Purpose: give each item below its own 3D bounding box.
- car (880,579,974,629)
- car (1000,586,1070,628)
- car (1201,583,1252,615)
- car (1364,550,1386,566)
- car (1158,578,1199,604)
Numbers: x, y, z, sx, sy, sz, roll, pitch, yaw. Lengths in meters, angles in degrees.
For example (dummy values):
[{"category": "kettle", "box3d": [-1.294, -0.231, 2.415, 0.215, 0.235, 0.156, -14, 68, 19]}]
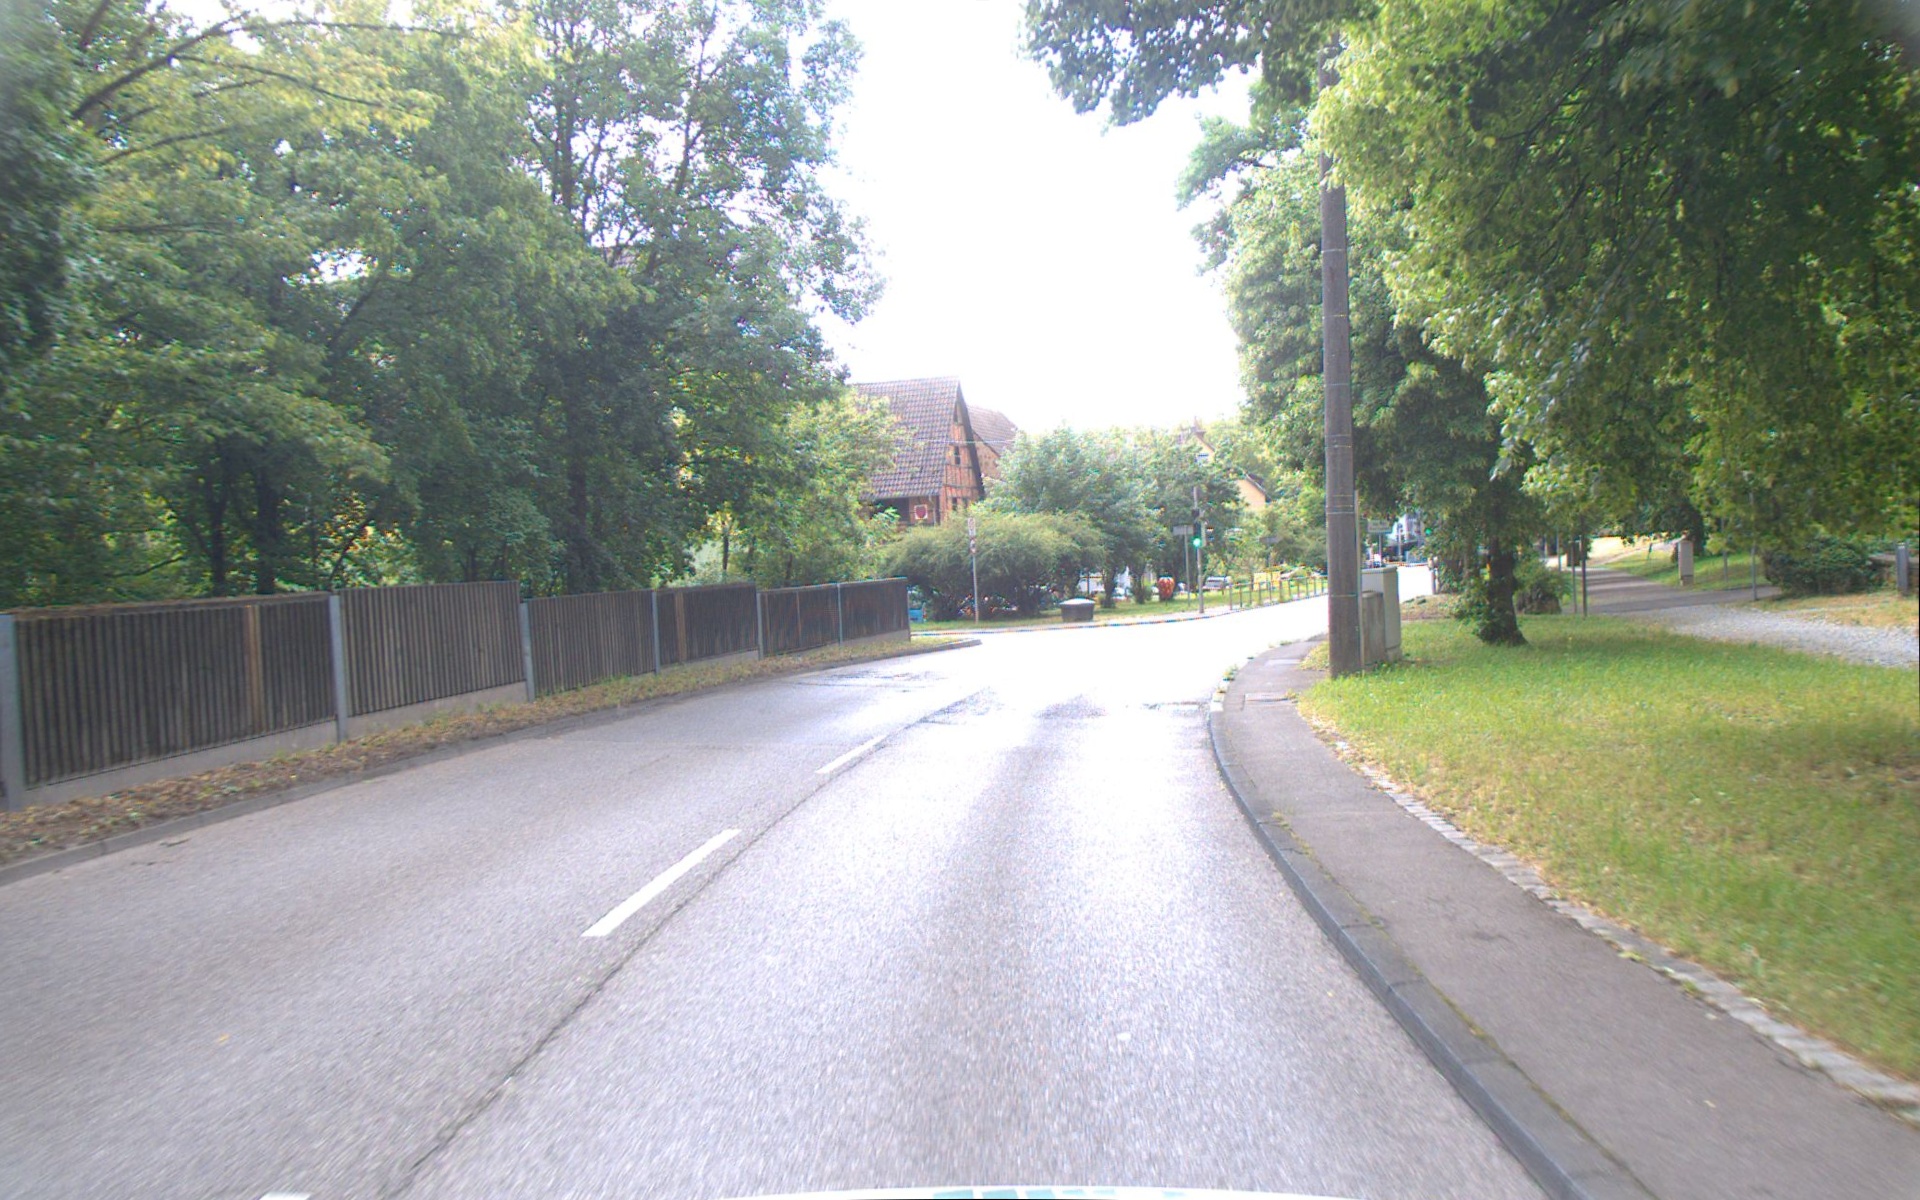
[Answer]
[{"category": "car", "box3d": [-1.232, 0.133, 64.692, 1.953, 1.646, 4.447, -4, 0, 23]}, {"category": "car", "box3d": [3.426, 0.300, 75.117, 1.775, 1.646, 3.999, -4, 0, 23]}, {"category": "car", "box3d": [16.498, -0.089, 102.221, 1.883, 1.724, 3.997, -4, 0, 26]}, {"category": "car", "box3d": [44.482, -4.512, 177.302, 1.669, 1.538, 4.001, -5, 0, 21]}, {"category": "car", "box3d": [12.446, -0.522, 94.224, 1.522, 1.300, 2.552, -4, 0, 26]}]
